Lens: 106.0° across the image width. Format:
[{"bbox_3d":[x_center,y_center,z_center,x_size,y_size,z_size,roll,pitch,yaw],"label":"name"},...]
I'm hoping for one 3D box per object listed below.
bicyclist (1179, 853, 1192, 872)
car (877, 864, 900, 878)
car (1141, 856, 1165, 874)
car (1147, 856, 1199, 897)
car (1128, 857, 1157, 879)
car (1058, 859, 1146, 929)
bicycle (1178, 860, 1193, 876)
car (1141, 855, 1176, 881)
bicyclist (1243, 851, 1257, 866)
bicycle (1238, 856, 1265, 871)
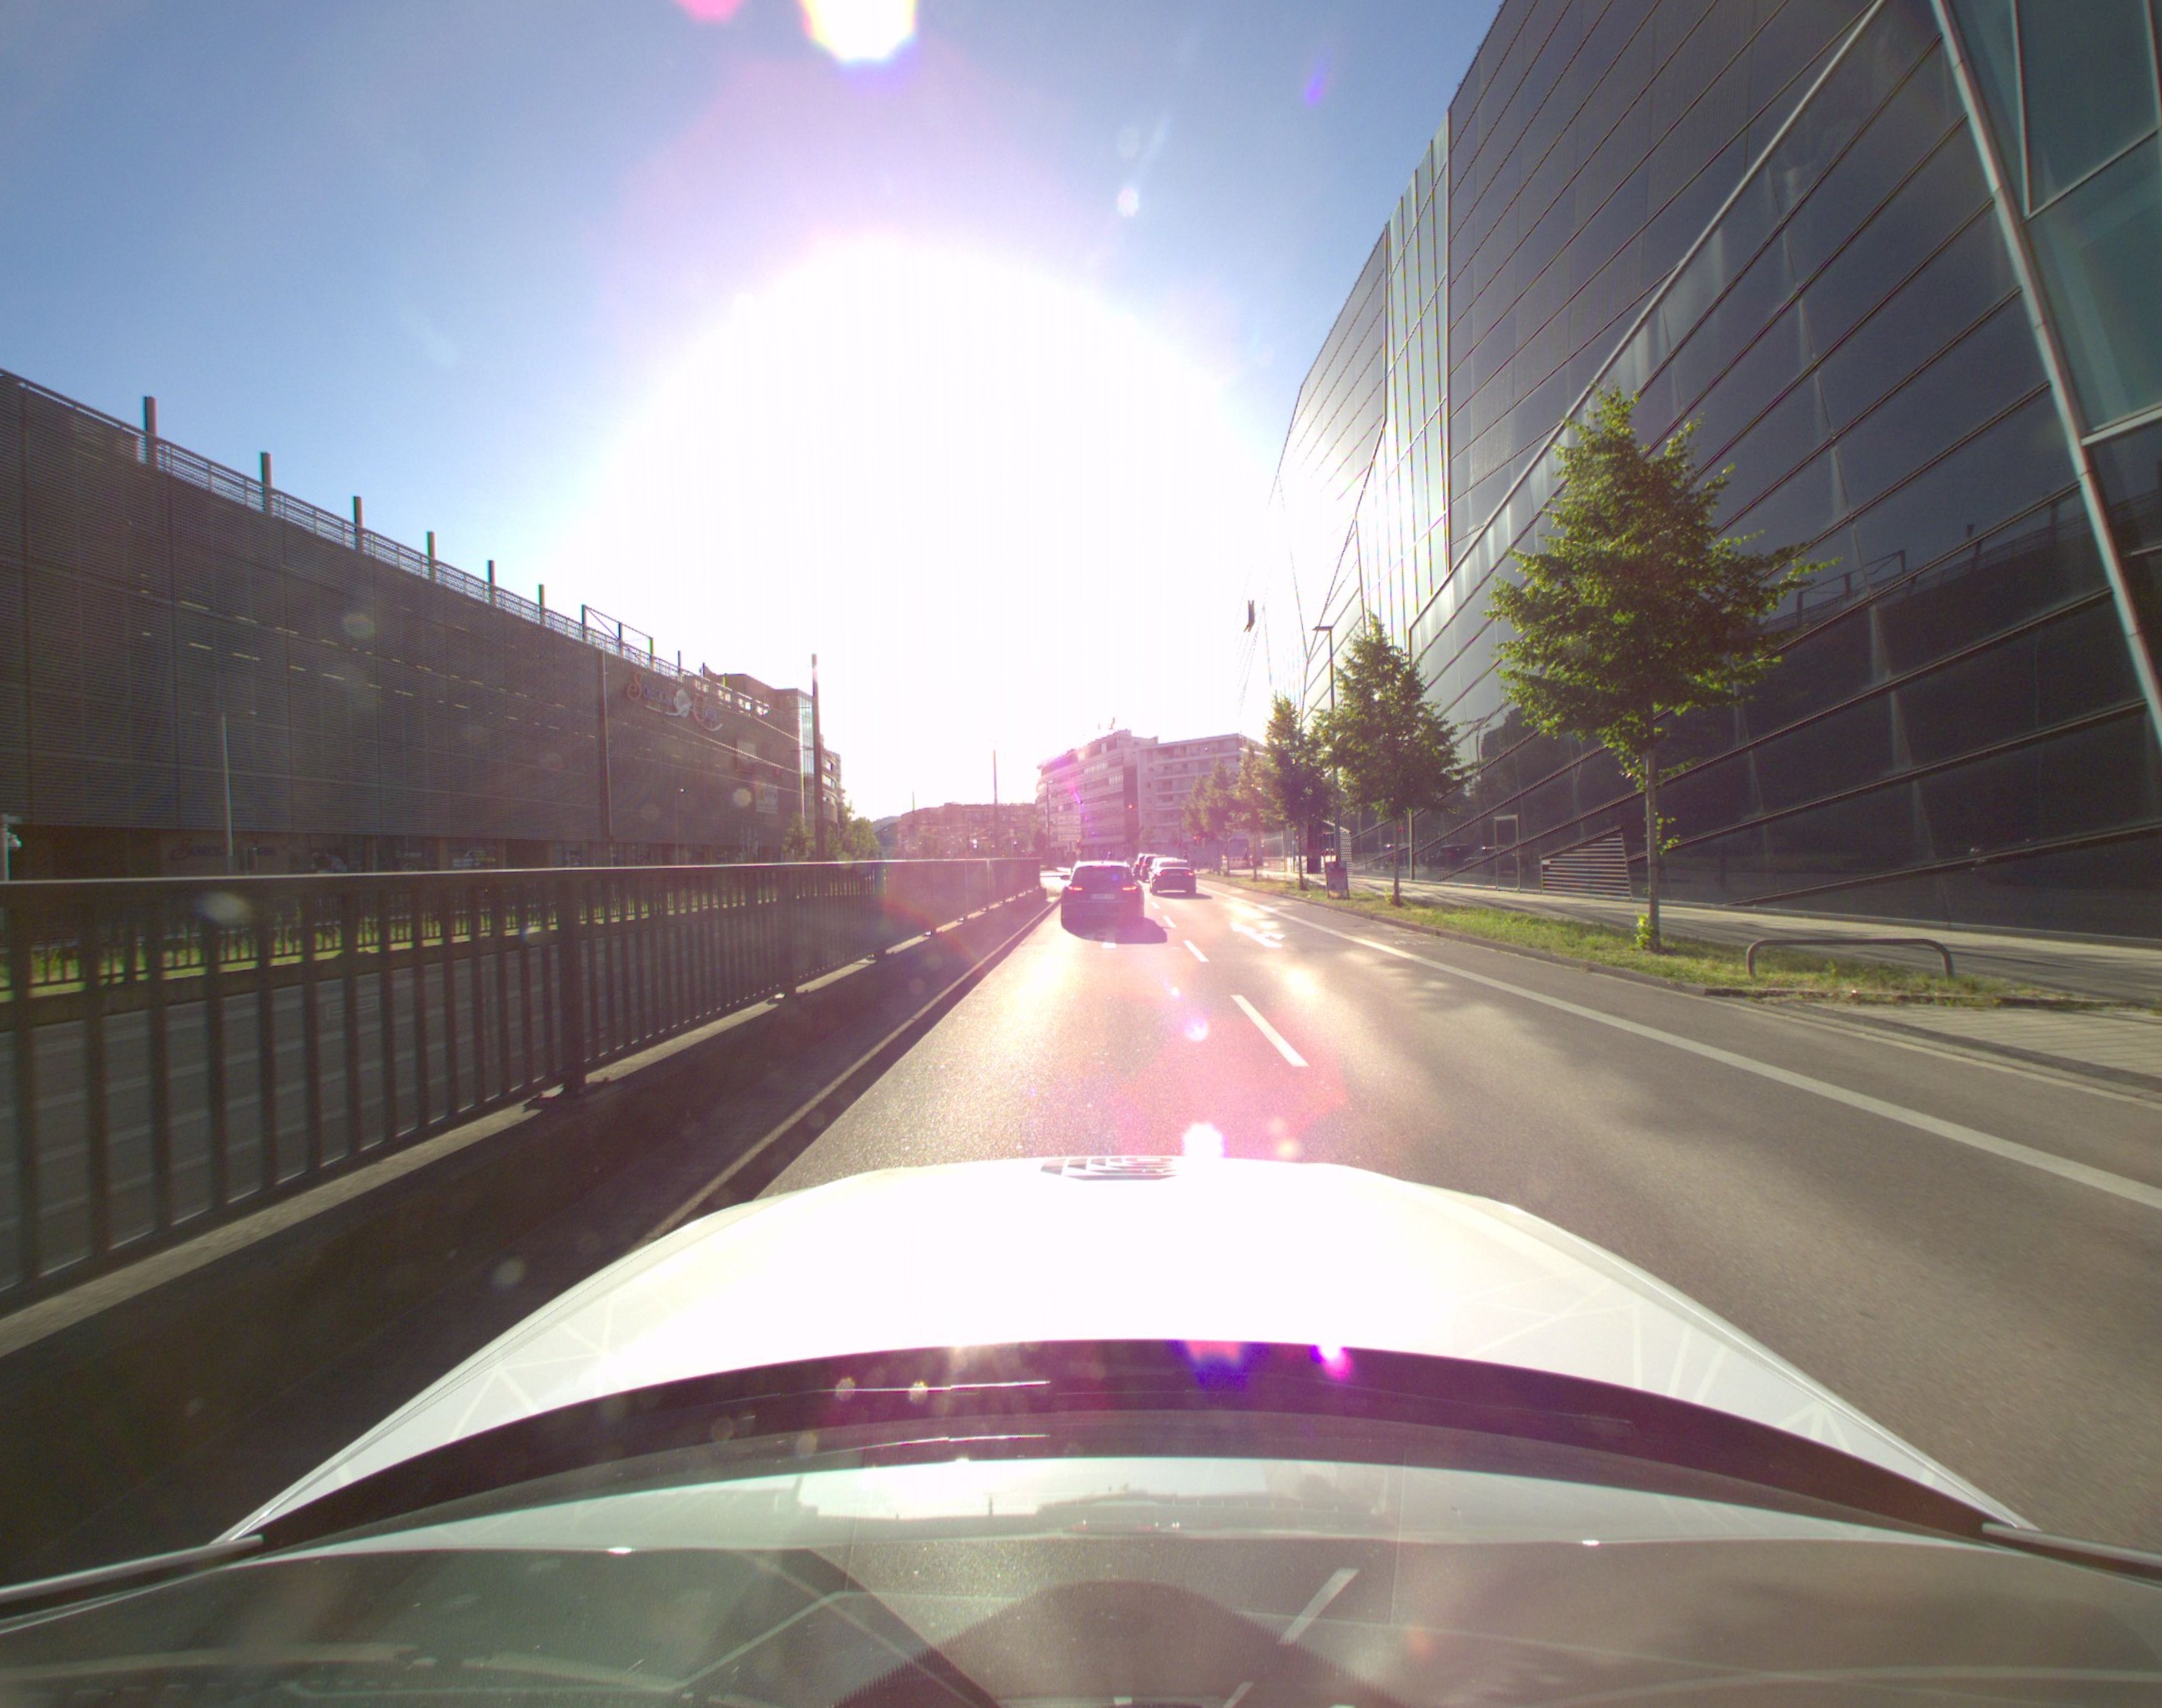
[{"bbox_3d":[8.231,0.664,64.141,0.723,1.418,0.890,-3,-1,-5],"label":"bicyclist"},{"bbox_3d":[-26.015,2.335,110.151,1.986,1.717,4.001,-3,0,2],"label":"car"},{"bbox_3d":[6.230,0.941,70.873,1.985,1.465,4.004,-1,1,4],"label":"car"},{"bbox_3d":[3.675,0.873,33.107,1.845,1.546,4.003,0,0,3],"label":"car"},{"bbox_3d":[4.464,1.015,59.242,1.985,1.465,4.004,-1,1,4],"label":"car"},{"bbox_3d":[0.504,0.868,19.480,1.806,1.427,4.691,-2,-1,1],"label":"car"},{"bbox_3d":[8.238,1.070,64.116,0.723,1.184,2.090,-3,0,-5],"label":"bicycle"},{"bbox_3d":[4.673,0.830,49.430,1.984,1.465,4.005,-1,1,4],"label":"car"},{"bbox_3d":[14.247,0.373,68.842,1.027,1.269,0.728,-3,-1,6],"label":"bicyclist"},{"bbox_3d":[14.405,0.810,68.811,2.076,1.184,0.728,-3,-1,6],"label":"bicycle"}]
